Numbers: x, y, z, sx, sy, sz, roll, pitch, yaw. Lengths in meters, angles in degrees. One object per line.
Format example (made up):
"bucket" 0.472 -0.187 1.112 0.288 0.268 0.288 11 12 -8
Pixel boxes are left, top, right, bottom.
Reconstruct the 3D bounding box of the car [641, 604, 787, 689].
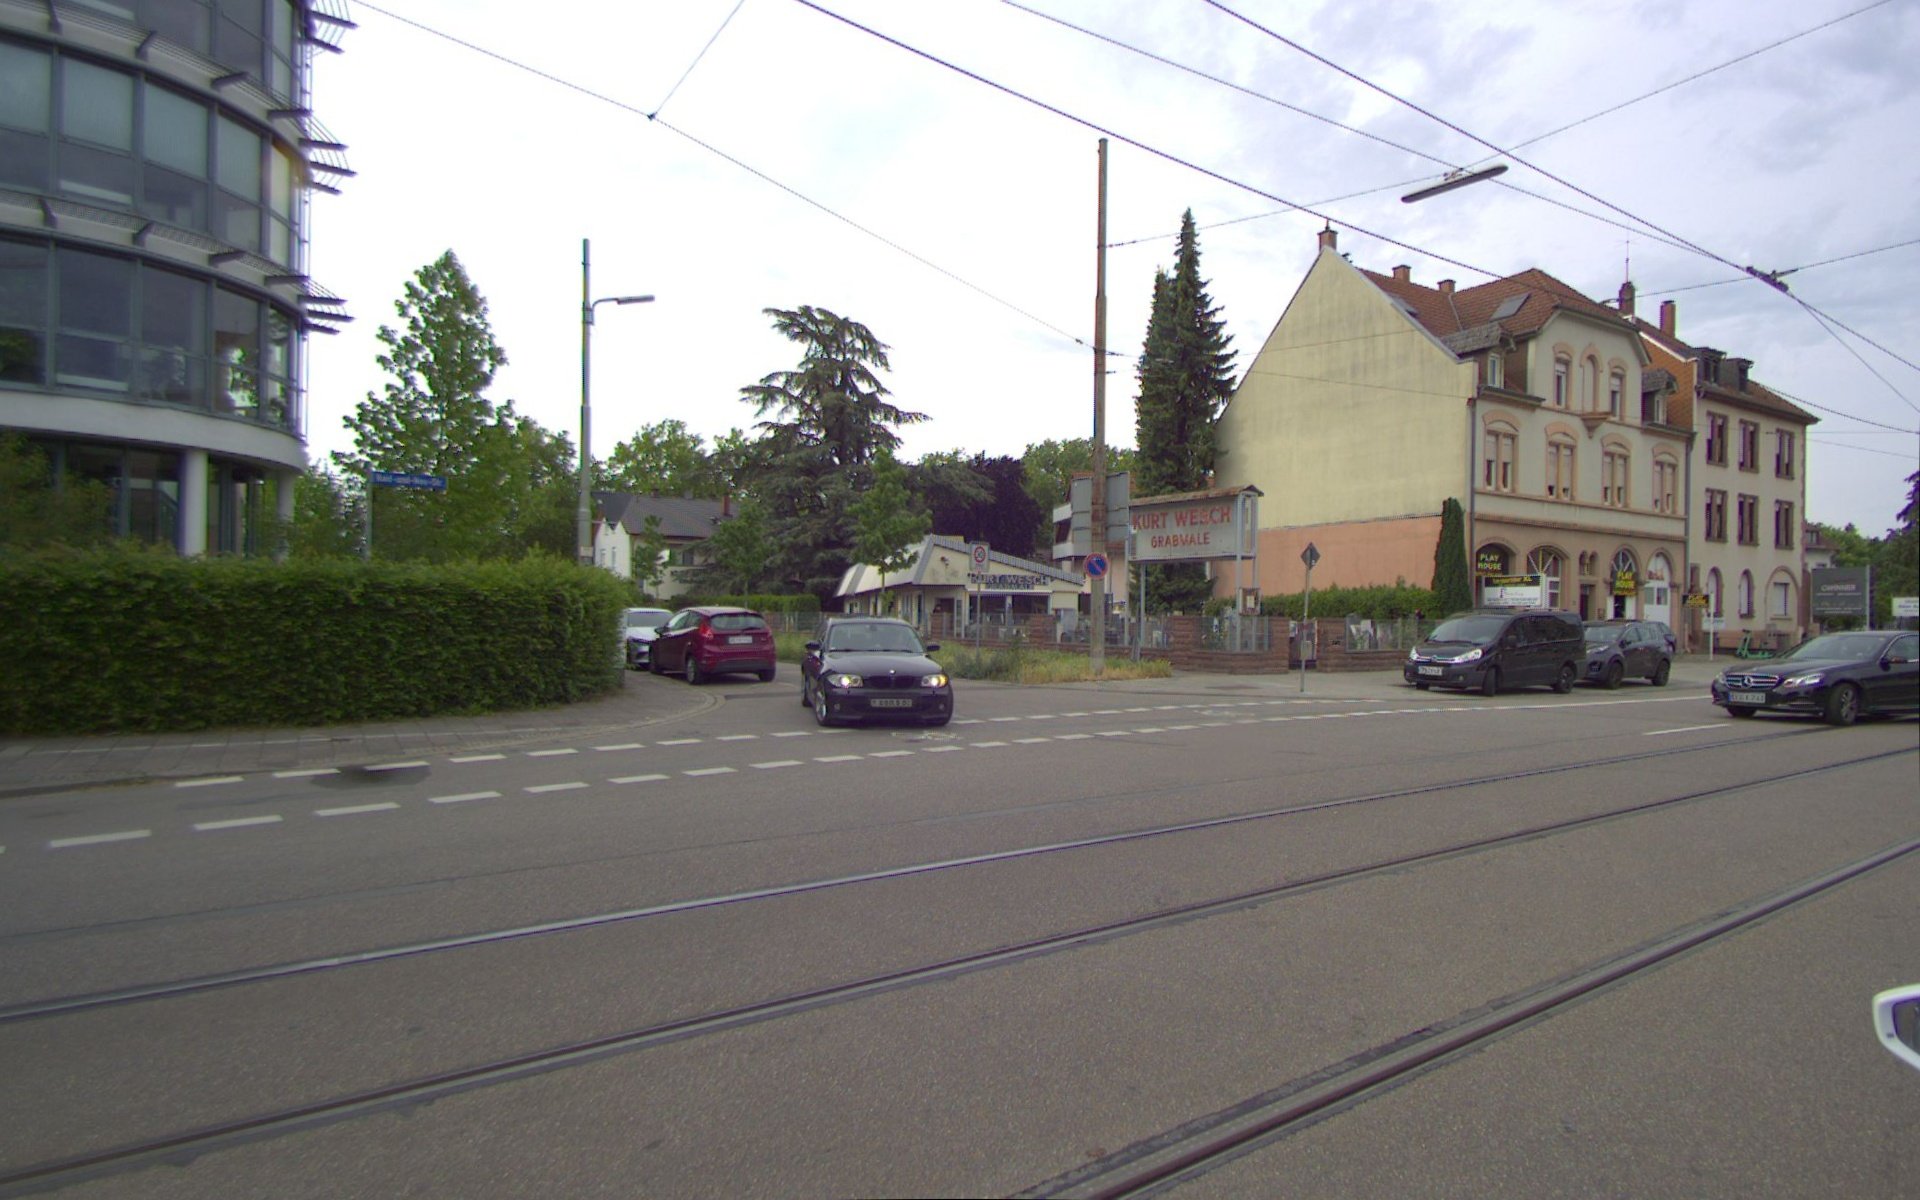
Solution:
"car" -5.064 0.857 20.337 1.749 1.437 3.687 -1 2 -33

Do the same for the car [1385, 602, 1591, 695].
"car" 12.345 1.101 23.385 4.942 1.912 1.981 2 0 -32

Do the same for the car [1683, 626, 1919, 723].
"car" 14.747 1.173 16.455 4.799 1.446 1.949 1 -1 -11

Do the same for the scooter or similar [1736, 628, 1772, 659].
"scooter or similar" 32.083 1.761 40.598 1.032 1.204 0.318 2 0 25

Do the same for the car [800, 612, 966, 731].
"car" -1.226 0.893 14.135 1.771 1.406 3.923 1 -1 -13

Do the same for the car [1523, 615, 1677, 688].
"car" 16.980 1.351 26.616 4.148 1.740 1.834 2 0 -33

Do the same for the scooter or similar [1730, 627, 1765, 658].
"scooter or similar" 32.249 1.751 41.129 1.032 1.204 0.318 2 0 25

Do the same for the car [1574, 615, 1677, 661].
"car" 24.278 1.381 36.624 3.706 1.520 1.743 2 0 -33

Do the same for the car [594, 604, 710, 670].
"car" -7.518 0.870 24.318 1.811 1.439 3.968 2 -2 -30
